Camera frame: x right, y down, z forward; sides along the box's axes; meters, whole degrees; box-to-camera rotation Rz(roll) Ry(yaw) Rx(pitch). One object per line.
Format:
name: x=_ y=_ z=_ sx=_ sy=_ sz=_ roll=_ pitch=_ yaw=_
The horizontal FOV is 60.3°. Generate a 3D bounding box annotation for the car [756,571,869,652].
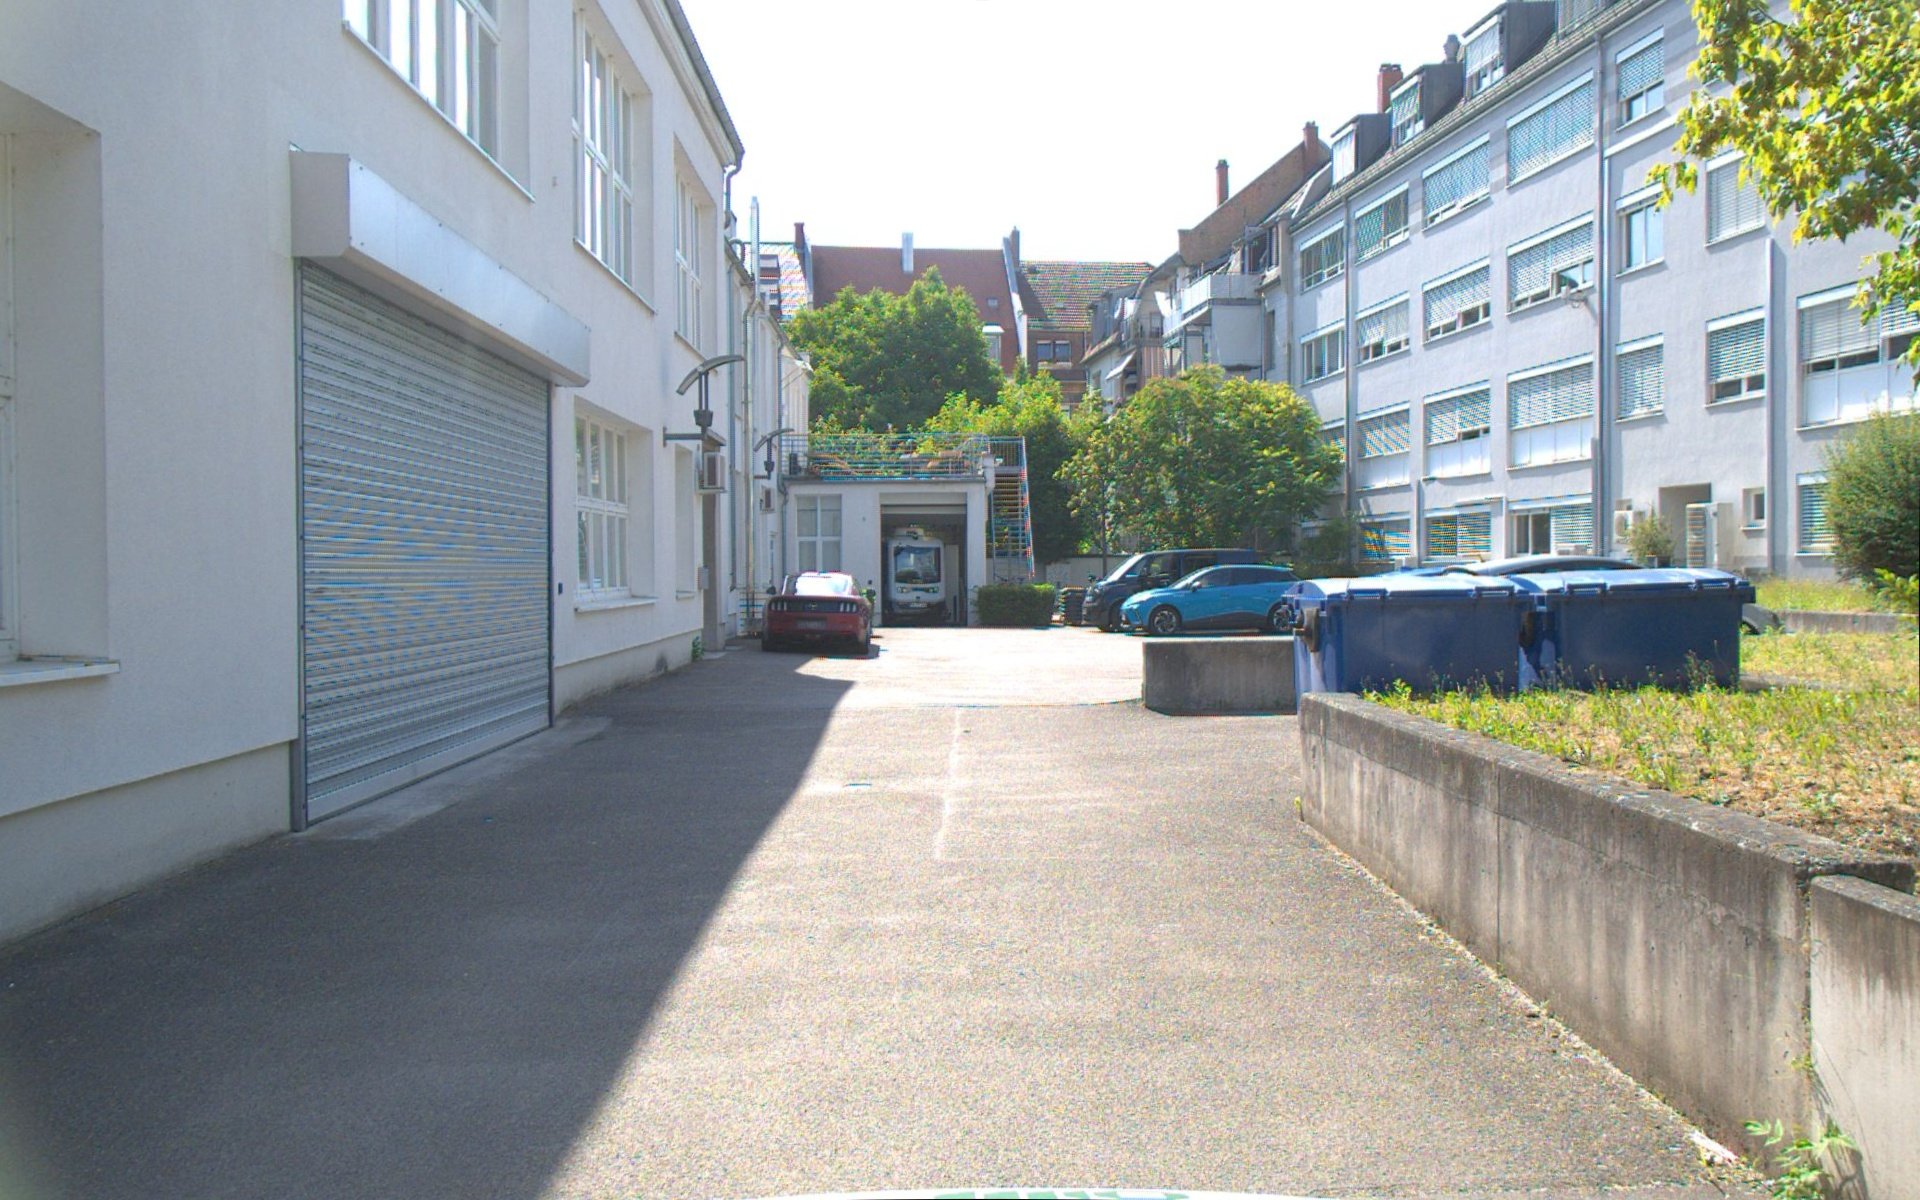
car: x=-2.609 y=0.160 z=30.029 sx=1.814 sy=1.342 sz=3.999 roll=1 pitch=1 yaw=-2

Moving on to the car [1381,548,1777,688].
car: x=7.107 y=0.173 z=19.230 sx=3.908 sy=1.452 sz=1.810 roll=-1 pitch=1 yaw=-4

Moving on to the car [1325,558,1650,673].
car: x=7.160 y=0.186 z=22.682 sx=3.906 sy=1.418 sz=1.688 roll=-1 pitch=1 yaw=-2

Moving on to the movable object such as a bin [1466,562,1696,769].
movable object such as a bin: x=4.330 y=0.426 z=11.632 sx=1.132 sy=1.359 sz=1.141 roll=-1 pitch=1 yaw=-4

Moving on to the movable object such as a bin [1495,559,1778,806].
movable object such as a bin: x=3.978 y=0.455 z=9.839 sx=1.221 sy=1.364 sz=1.142 roll=-1 pitch=1 yaw=1

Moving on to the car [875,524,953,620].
car: x=-1.343 y=-0.820 z=49.877 sx=2.130 sy=2.652 sz=6.733 roll=-2 pitch=0 yaw=-1

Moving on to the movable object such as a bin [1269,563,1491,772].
movable object such as a bin: x=2.944 y=0.442 z=11.728 sx=1.223 sy=1.379 sz=1.128 roll=-1 pitch=1 yaw=-4

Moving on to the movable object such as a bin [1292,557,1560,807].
movable object such as a bin: x=2.719 y=0.462 z=9.826 sx=1.221 sy=1.342 sz=1.142 roll=-3 pitch=-1 yaw=1

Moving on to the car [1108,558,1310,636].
car: x=5.558 y=-0.094 z=37.227 sx=4.146 sy=1.558 sz=1.998 roll=-2 pitch=2 yaw=-5

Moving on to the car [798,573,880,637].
car: x=-2.650 y=0.080 z=36.972 sx=1.581 sy=1.318 sz=3.758 roll=-1 pitch=1 yaw=-1

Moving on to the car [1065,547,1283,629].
car: x=5.209 y=-0.326 z=40.468 sx=4.868 sy=1.798 sz=2.089 roll=-2 pitch=2 yaw=-14
